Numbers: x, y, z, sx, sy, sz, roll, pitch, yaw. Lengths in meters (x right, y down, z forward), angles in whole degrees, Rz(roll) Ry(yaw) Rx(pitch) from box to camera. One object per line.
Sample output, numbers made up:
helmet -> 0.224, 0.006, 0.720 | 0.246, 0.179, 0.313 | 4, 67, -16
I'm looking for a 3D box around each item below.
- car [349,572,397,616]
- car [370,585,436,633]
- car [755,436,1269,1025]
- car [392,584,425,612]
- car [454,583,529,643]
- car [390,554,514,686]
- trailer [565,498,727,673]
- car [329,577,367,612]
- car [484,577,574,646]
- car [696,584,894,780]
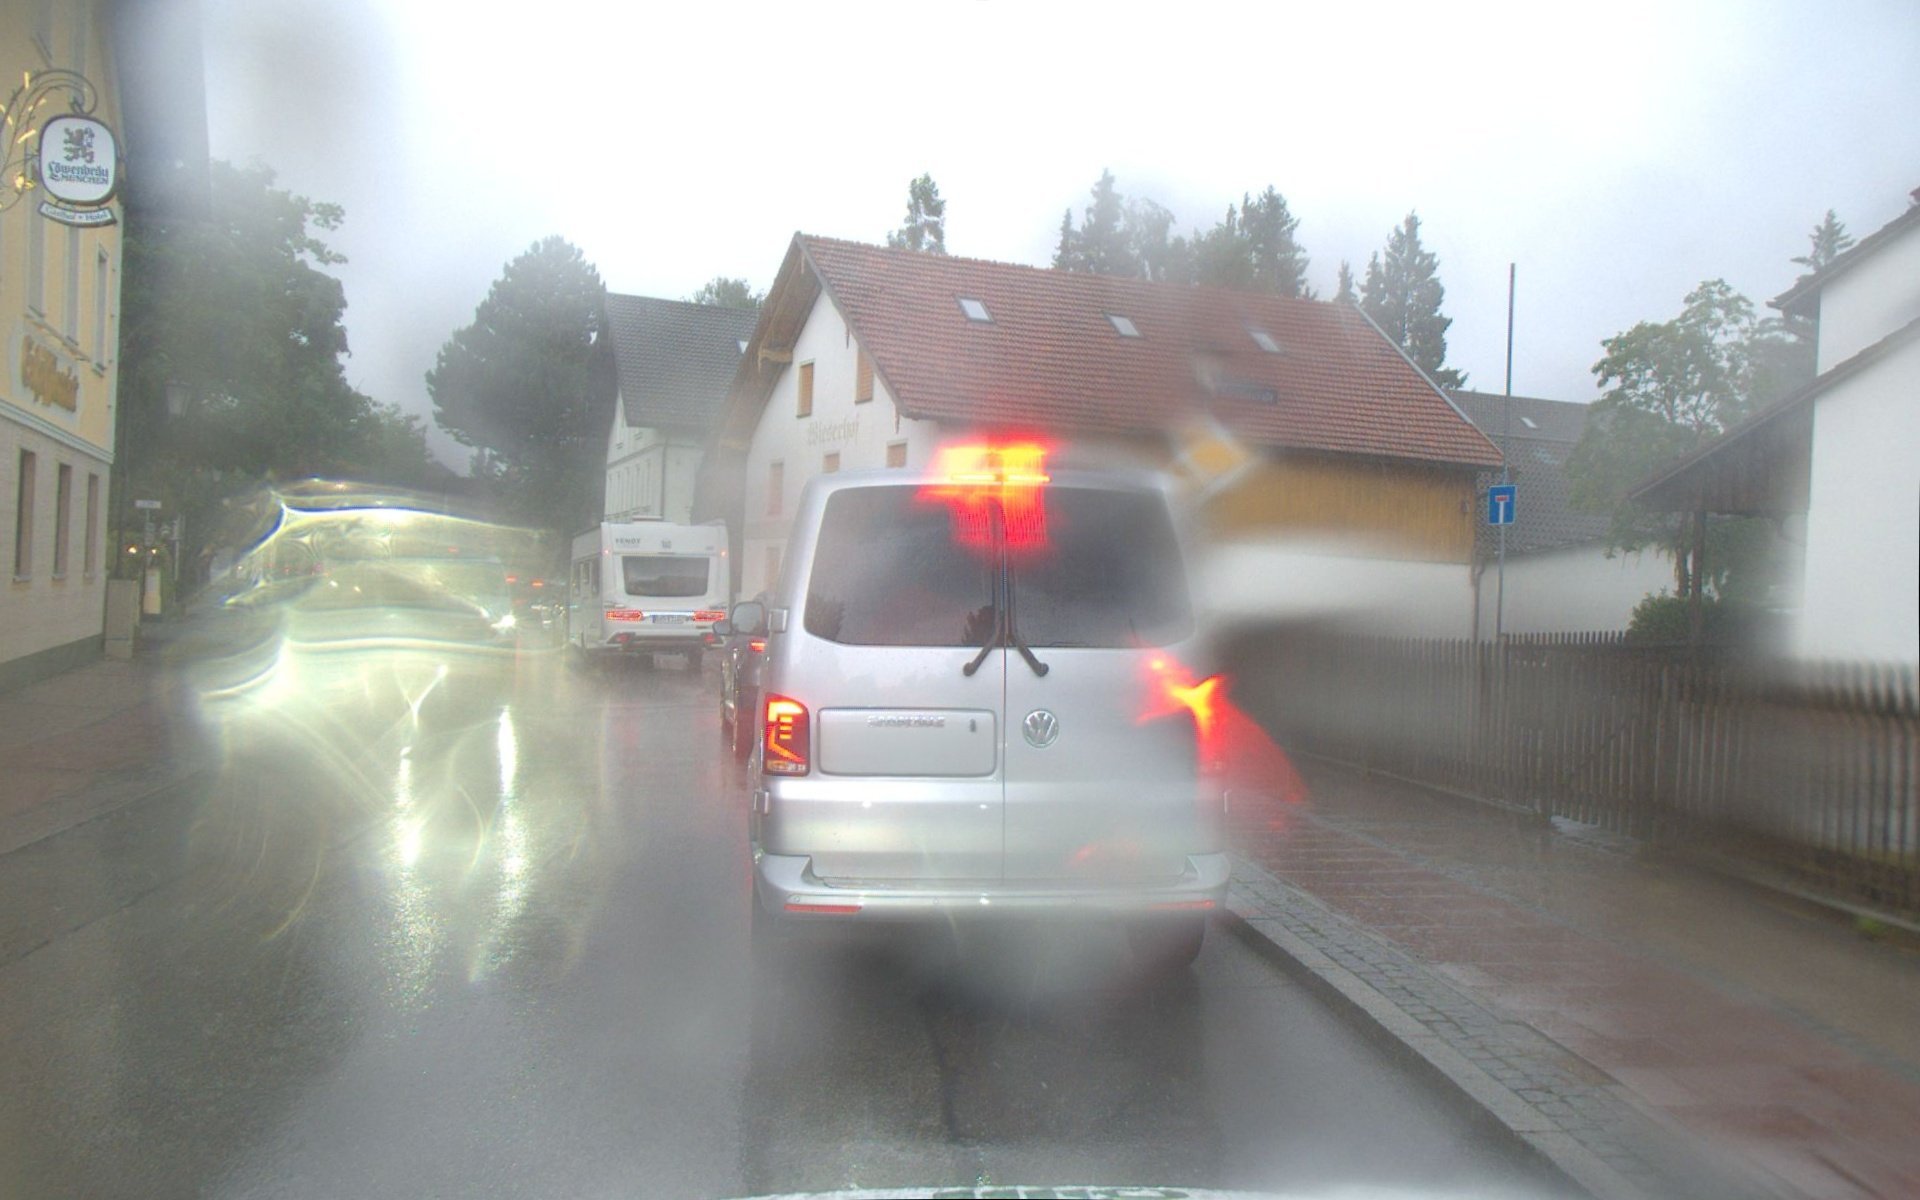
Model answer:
car -> -25.209, -0.275, 71.041 | 1.835, 1.788, 4.457 | -2, 1, -20
car -> -17.477, 0.249, 51.793 | 1.835, 1.382, 4.456 | 0, 1, -21
car -> 0.108, 0.450, 8.180 | 1.741, 1.997, 5.072 | 1, 0, -2
car -> -42.595, -0.142, 127.578 | 2.138, 1.932, 4.983 | 3, 1, -21
car -> -17.049, 0.439, 60.029 | 2.138, 1.932, 4.983 | 3, 1, -21
car -> -8.473, 0.315, 27.754 | 1.821, 2.006, 4.681 | 0, 0, -16
trailer -> -6.058, -0.240, 31.243 | 2.235, 2.955, 6.101 | 1, 0, -18
car -> -33.002, -0.302, 89.277 | 1.835, 1.788, 4.457 | -2, 1, -20
car -> -13.603, 0.323, 52.051 | 2.138, 1.932, 4.983 | 3, 1, -21
car -> -1.684, 0.675, 16.520 | 1.676, 1.611, 4.679 | -1, 1, -7
